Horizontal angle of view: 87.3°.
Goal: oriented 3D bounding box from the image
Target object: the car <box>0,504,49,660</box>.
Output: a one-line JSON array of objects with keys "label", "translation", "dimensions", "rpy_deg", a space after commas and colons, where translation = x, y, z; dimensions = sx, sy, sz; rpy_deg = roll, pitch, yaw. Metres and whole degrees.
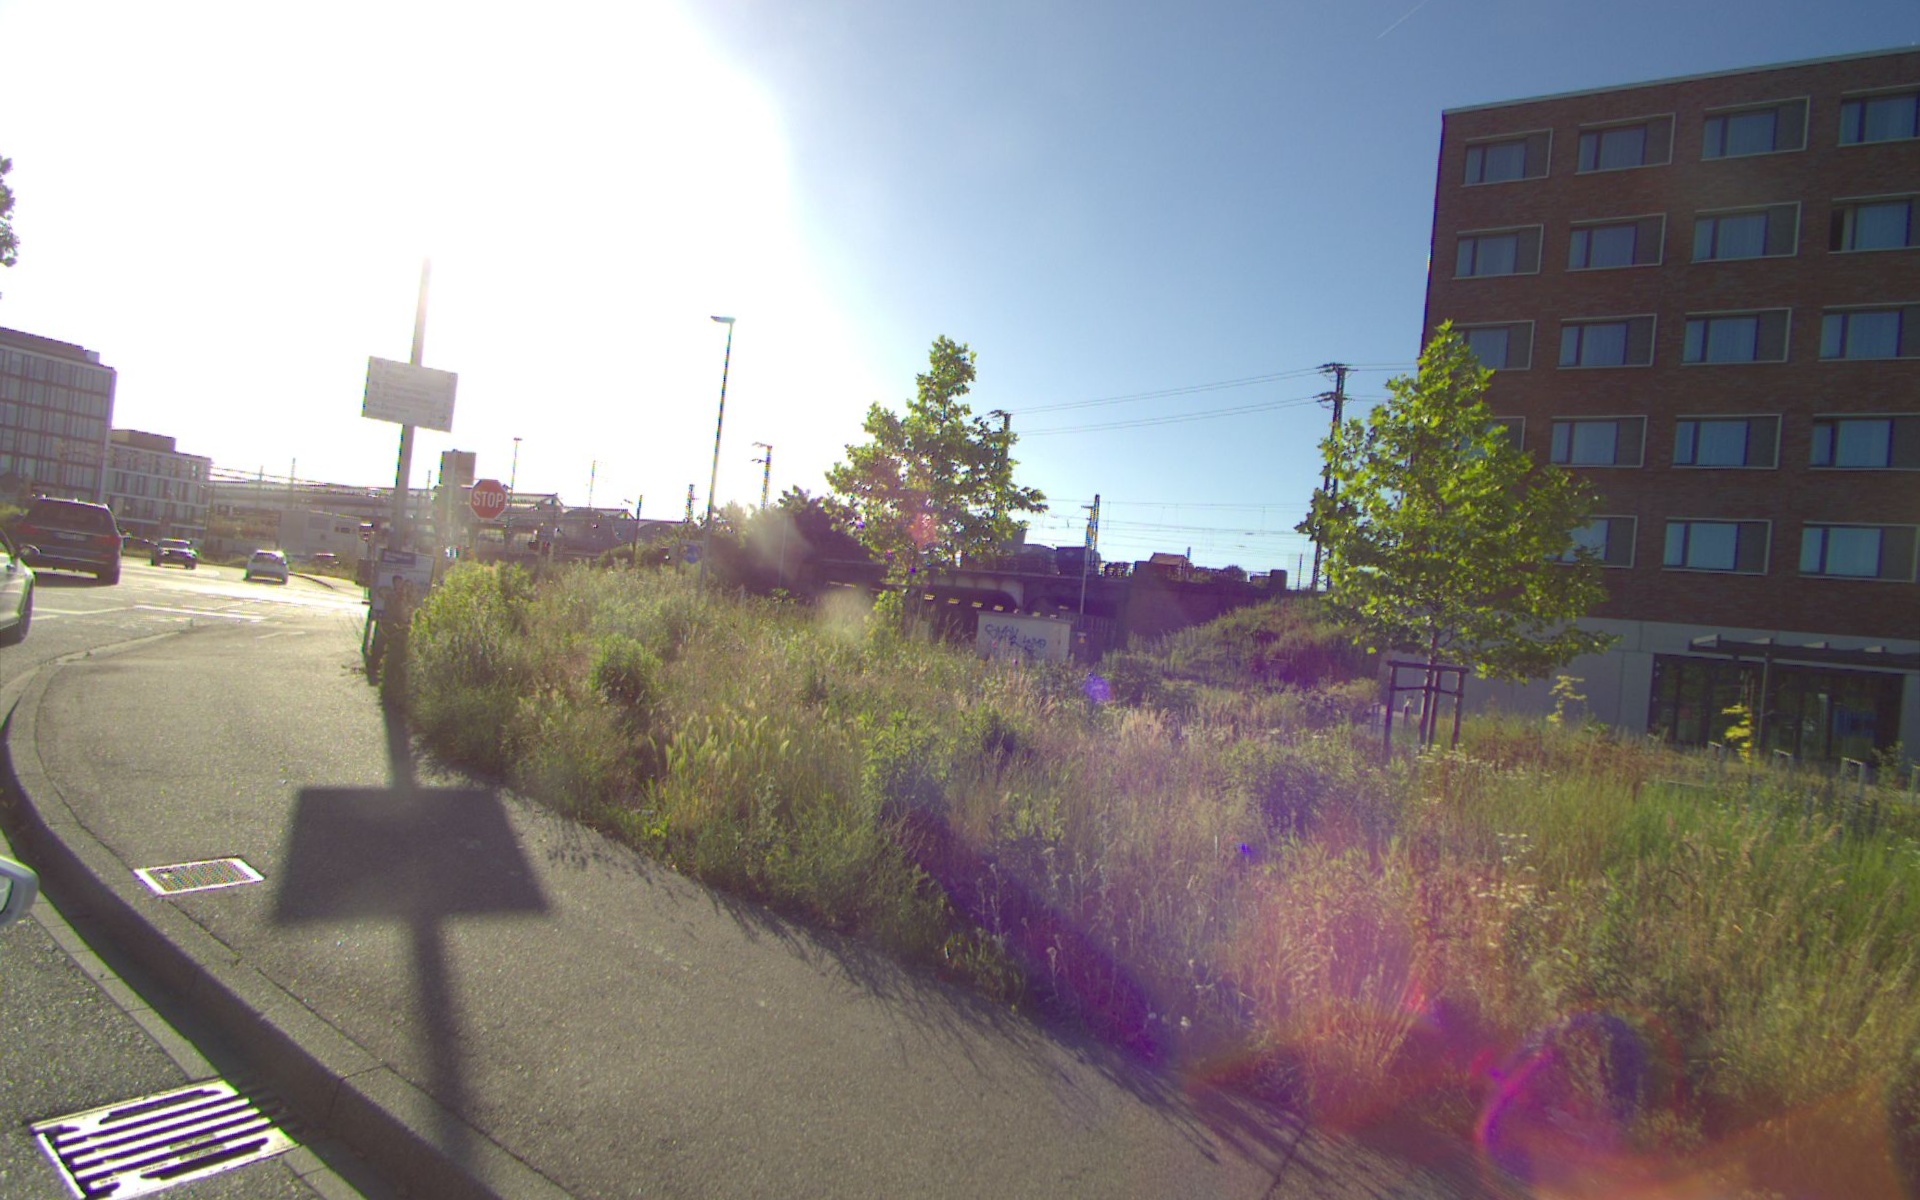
[{"label": "car", "translation": [-9.914, -0.288, 9.133], "dimensions": [1.961, 1.444, 3.897], "rpy_deg": [8, -2, -37]}]

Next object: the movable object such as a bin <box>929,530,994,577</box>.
[{"label": "movable object such as a bin", "translation": [0.163, -3.017, 65.870], "dimensions": [1.966, 2.251, 4.828], "rpy_deg": [6, -3, 29]}]

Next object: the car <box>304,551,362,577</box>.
[{"label": "car", "translation": [-56.212, -3.202, 90.254], "dimensions": [1.591, 1.724, 3.989], "rpy_deg": [6, -3, 38]}]

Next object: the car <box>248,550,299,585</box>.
[{"label": "car", "translation": [-34.934, -1.658, 51.251], "dimensions": [1.735, 1.494, 3.969], "rpy_deg": [8, -2, -31]}]

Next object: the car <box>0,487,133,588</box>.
[{"label": "car", "translation": [-21.147, -1.457, 23.818], "dimensions": [2.105, 1.909, 4.758], "rpy_deg": [8, -2, -41]}]

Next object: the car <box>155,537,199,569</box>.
[{"label": "car", "translation": [-44.033, -2.644, 56.615], "dimensions": [1.740, 1.494, 3.959], "rpy_deg": [8, -2, -38]}]

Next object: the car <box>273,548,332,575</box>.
[{"label": "car", "translation": [-59.921, -3.523, 91.712], "dimensions": [1.630, 1.808, 3.989], "rpy_deg": [6, -3, 38]}]

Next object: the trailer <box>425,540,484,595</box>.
[{"label": "trailer", "translation": [-35.973, -2.302, 71.445], "dimensions": [2.975, 3.329, 6.617], "rpy_deg": [8, -3, -31]}]
